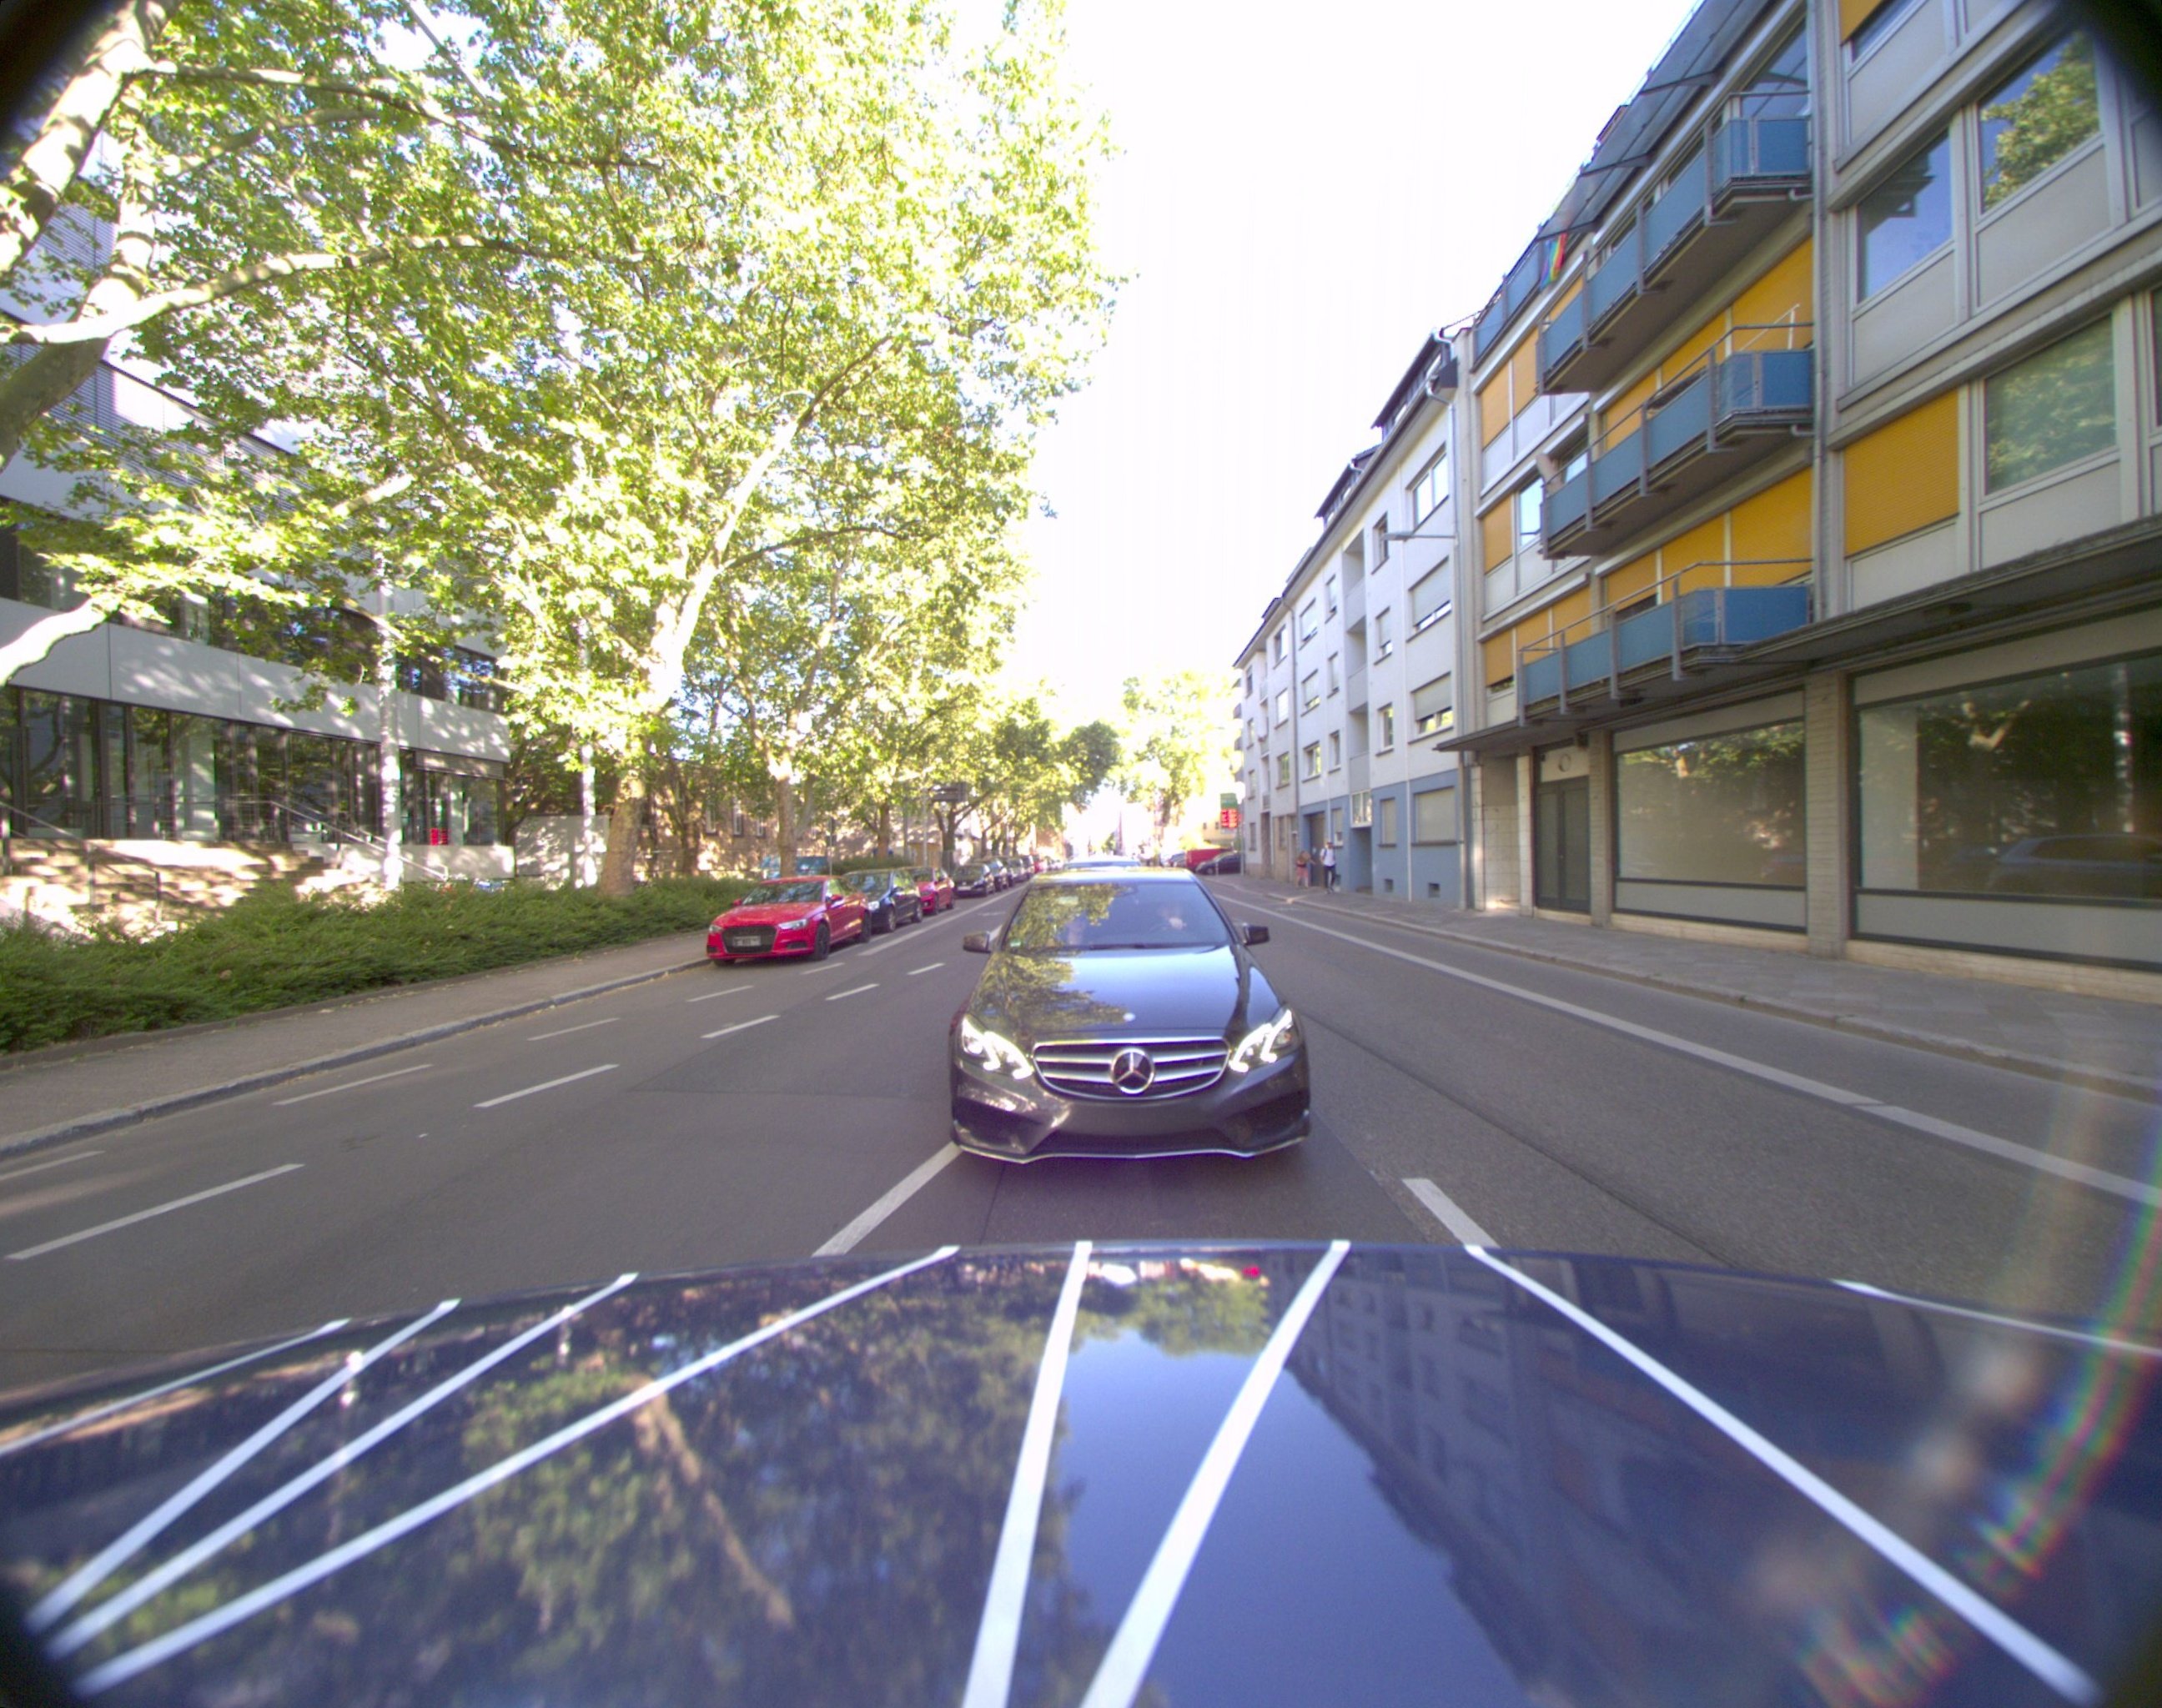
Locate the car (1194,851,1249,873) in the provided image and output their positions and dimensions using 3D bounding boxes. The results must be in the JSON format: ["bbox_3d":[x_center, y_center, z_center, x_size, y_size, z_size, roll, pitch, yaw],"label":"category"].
[{"bbox_3d":[10.094,0.556,54.730,3.670,1.403,1.636,-3,0,1],"label":"car"}]

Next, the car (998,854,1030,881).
[{"bbox_3d":[-4.425,0.896,50.715,1.635,1.644,3.845,-3,0,1],"label":"car"}]

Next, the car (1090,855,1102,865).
[{"bbox_3d":[2.461,1.024,122.385,1.853,1.455,4.099,-3,0,1],"label":"car"}]

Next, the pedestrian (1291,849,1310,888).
[{"bbox_3d":[8.822,0.583,30.534,0.569,1.509,0.343,-3,1,1],"label":"pedestrian"}]

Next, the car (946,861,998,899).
[{"bbox_3d":[-4.698,1.093,33.146,1.635,1.455,3.740,-3,0,1],"label":"car"}]

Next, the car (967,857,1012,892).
[{"bbox_3d":[-4.534,0.969,38.058,1.635,1.578,3.845,-3,0,1],"label":"car"}]

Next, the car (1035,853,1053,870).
[{"bbox_3d":[-3.943,0.757,82.070,1.635,1.713,3.673,-3,0,1],"label":"car"}]

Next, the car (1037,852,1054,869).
[{"bbox_3d":[-3.956,0.715,86.082,1.635,1.713,3.673,-3,0,1],"label":"car"}]

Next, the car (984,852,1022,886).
[{"bbox_3d":[-4.495,0.853,44.186,1.635,1.795,3.845,-3,0,1],"label":"car"}]

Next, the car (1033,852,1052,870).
[{"bbox_3d":[-3.971,0.721,78.282,1.635,1.713,3.673,-3,0,1],"label":"car"}]

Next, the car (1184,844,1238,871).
[{"bbox_3d":[10.211,0.258,59.990,3.927,1.912,1.636,-3,0,1],"label":"car"}]

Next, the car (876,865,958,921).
[{"bbox_3d":[-4.999,1.144,23.655,1.635,1.455,3.740,-3,0,1],"label":"car"}]

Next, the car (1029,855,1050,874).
[{"bbox_3d":[-3.909,0.963,71.914,1.635,1.713,3.673,-3,0,1],"label":"car"}]

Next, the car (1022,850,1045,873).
[{"bbox_3d":[-4.131,0.638,66.129,1.635,1.878,3.673,-3,0,1],"label":"car"}]

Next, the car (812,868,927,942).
[{"bbox_3d":[-5.010,1.156,18.496,1.635,1.455,3.740,-3,0,1],"label":"car"}]

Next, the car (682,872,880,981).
[{"bbox_3d":[-5.144,1.161,13.693,1.804,1.455,4.125,-3,0,1],"label":"car"}]

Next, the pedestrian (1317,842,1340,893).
[{"bbox_3d":[8.479,0.450,26.030,0.569,1.716,0.343,-3,1,1],"label":"pedestrian"}]

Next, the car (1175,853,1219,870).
[{"bbox_3d":[9.542,0.637,62.635,3.325,1.241,1.295,-3,0,1],"label":"car"}]

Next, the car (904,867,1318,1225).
[{"bbox_3d":[0.165,0.909,5.504,1.804,1.455,4.125,-3,0,1],"label":"car"}]

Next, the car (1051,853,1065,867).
[{"bbox_3d":[-3.048,0.788,102.772,1.635,1.713,3.673,-3,0,1],"label":"car"}]

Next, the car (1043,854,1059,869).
[{"bbox_3d":[-3.648,0.923,92.437,1.635,1.713,3.673,-3,0,1],"label":"car"}]

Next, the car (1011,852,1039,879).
[{"bbox_3d":[-4.078,0.827,55.576,1.635,1.799,3.673,-3,0,1],"label":"car"}]

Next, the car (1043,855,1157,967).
[{"bbox_3d":[0.321,0.879,13.778,1.680,1.622,4.125,-3,0,1],"label":"car"}]
